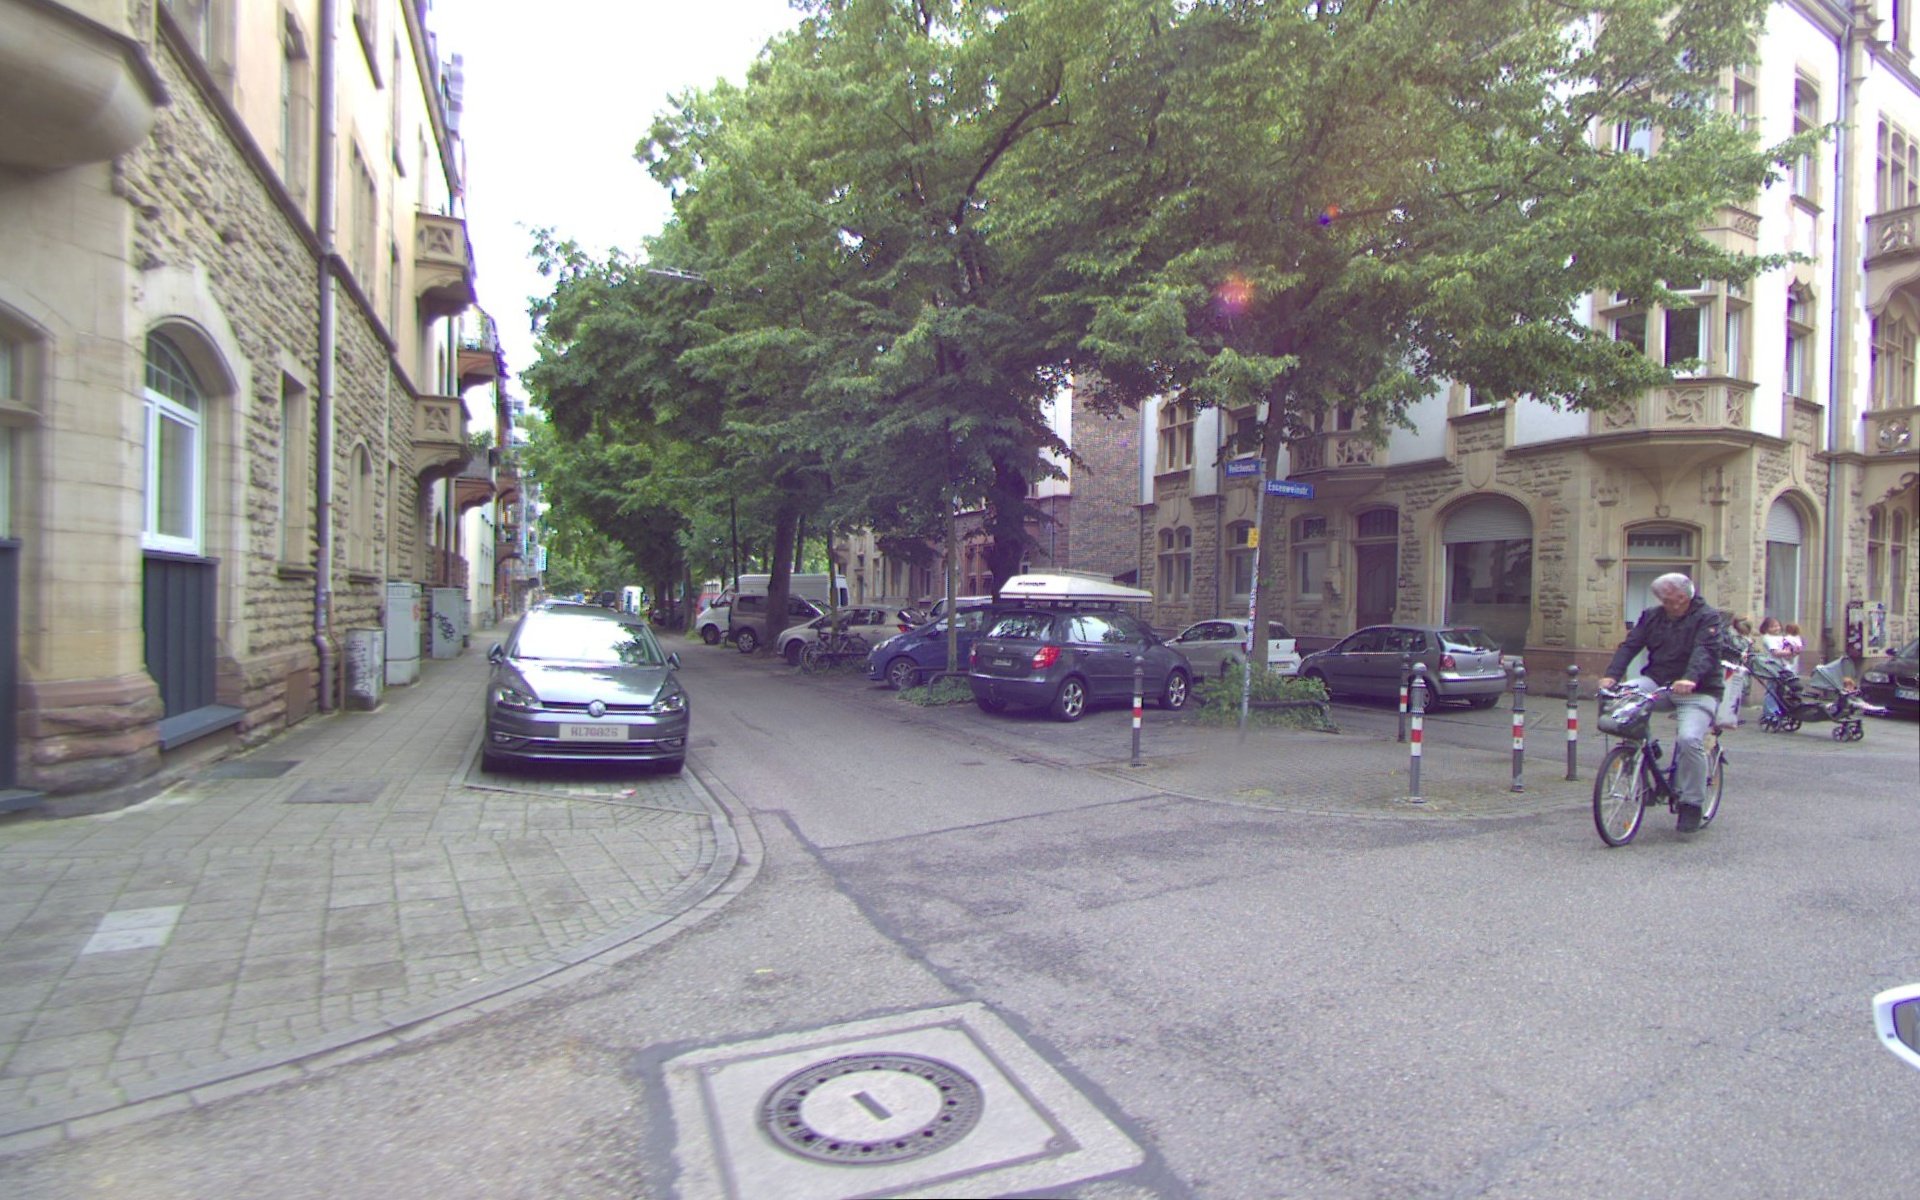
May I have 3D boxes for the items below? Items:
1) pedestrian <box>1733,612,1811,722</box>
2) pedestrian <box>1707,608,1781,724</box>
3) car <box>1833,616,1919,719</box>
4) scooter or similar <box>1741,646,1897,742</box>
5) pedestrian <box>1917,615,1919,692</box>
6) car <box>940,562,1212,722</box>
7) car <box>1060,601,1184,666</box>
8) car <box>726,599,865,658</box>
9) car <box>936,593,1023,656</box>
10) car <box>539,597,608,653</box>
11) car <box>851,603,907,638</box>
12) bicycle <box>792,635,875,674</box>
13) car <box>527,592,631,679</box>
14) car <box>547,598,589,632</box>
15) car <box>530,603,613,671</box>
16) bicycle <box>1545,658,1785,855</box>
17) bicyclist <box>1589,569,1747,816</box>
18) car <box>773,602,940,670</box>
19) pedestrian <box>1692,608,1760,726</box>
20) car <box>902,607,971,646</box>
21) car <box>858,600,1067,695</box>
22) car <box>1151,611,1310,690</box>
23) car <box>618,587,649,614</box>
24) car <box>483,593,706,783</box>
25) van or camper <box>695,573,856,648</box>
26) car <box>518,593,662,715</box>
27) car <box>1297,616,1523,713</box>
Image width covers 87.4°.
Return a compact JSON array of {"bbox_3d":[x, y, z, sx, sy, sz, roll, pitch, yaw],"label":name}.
[{"bbox_3d":[12.390,1.002,15.347,0.656,1.615,0.632,1,1,9],"label":"pedestrian"},{"bbox_3d":[11.700,0.968,15.000,0.594,1.665,0.615,1,1,-20],"label":"pedestrian"},{"bbox_3d":[16.212,1.115,16.449,3.954,1.514,1.701,2,1,-31],"label":"car"},{"bbox_3d":[11.834,1.265,13.893,0.665,1.119,1.467,1,2,-20],"label":"scooter or similar"},{"bbox_3d":[19.512,1.071,20.001,0.540,1.539,0.512,1,0,-32],"label":"pedestrian"},{"bbox_3d":[1.775,0.543,14.530,3.934,1.994,1.810,1,0,-44],"label":"car"},{"bbox_3d":[4.228,0.854,26.721,1.626,1.480,3.483,2,1,-22],"label":"car"},{"bbox_3d":[-4.891,0.846,30.059,3.683,1.537,1.759,2,-1,12],"label":"car"},{"bbox_3d":[0.651,0.815,36.067,1.884,2.035,3.514,-1,2,-22],"label":"car"},{"bbox_3d":[-10.936,0.667,28.313,1.557,1.367,3.370,5,-1,-24],"label":"car"},{"bbox_3d":[-3.823,0.947,46.794,1.695,1.529,3.540,1,0,-21],"label":"car"},{"bbox_3d":[-2.760,1.168,21.896,1.750,0.764,0.837,-1,0,-9],"label":"bicycle"},{"bbox_3d":[-7.664,0.658,20.061,1.640,1.485,3.370,5,-1,-24],"label":"car"},{"bbox_3d":[-17.620,0.645,45.038,1.588,1.424,3.370,0,0,-24],"label":"car"},{"bbox_3d":[-9.248,0.839,23.783,1.557,1.367,3.370,5,-1,-24],"label":"car"},{"bbox_3d":[4.775,0.986,6.775,1.778,1.108,0.631,0,0,-30],"label":"bicycle"},{"bbox_3d":[4.767,0.589,6.779,0.668,1.559,0.645,1,0,-29],"label":"bicyclist"},{"bbox_3d":[-2.481,0.825,24.264,3.586,1.500,1.779,1,0,18],"label":"car"},{"bbox_3d":[11.181,0.961,14.669,0.520,1.665,0.527,1,2,-20],"label":"pedestrian"},{"bbox_3d":[-0.971,1.017,39.427,1.695,1.417,3.303,1,0,-21],"label":"car"},{"bbox_3d":[0.089,0.804,17.932,3.540,1.536,1.655,1,0,4],"label":"car"},{"bbox_3d":[5.956,1.078,22.535,1.626,1.480,3.483,2,1,-22],"label":"car"},{"bbox_3d":[-25.689,0.047,78.946,1.724,1.907,3.971,2,1,-27],"label":"car"},{"bbox_3d":[-3.853,0.748,10.256,1.640,1.485,4.259,5,-1,-24],"label":"car"},{"bbox_3d":[-6.492,0.335,35.411,5.194,2.494,2.074,1,0,20],"label":"van or camper"},{"bbox_3d":[-5.647,0.710,15.016,1.640,1.485,4.259,5,-1,-24],"label":"car"},{"bbox_3d":[7.919,1.063,18.010,1.625,1.480,3.561,-1,0,-22],"label":"car"}]
